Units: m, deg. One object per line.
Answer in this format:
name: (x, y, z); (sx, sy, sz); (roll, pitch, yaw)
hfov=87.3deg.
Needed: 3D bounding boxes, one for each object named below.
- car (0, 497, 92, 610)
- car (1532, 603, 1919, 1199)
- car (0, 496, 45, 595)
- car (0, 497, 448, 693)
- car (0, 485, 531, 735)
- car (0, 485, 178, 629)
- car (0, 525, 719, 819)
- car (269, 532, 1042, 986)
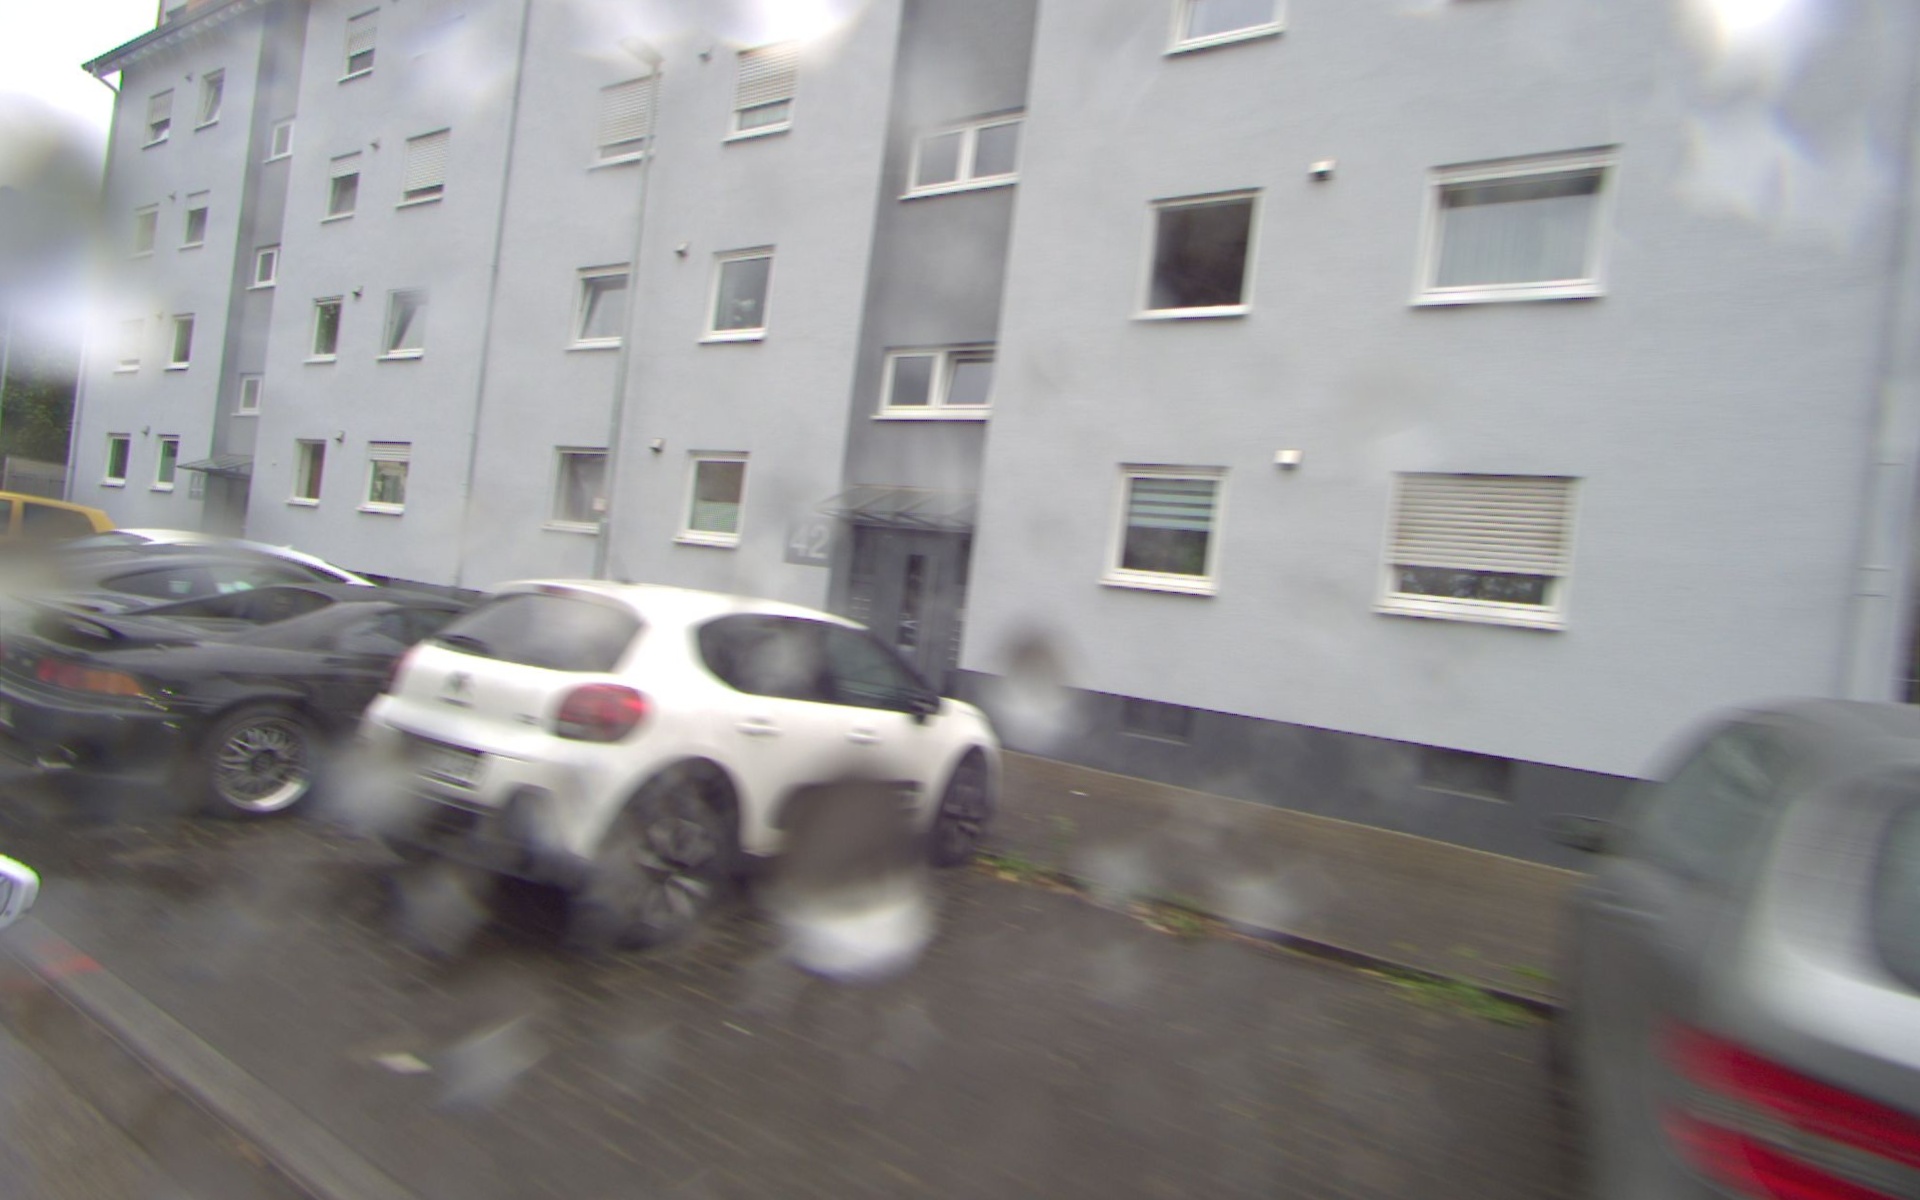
car: (-14.504, -0.871, 13.411); (1.752, 1.458, 3.996); (7, -2, 31)
car: (2.673, 1.095, 2.662); (1.858, 1.589, 4.191); (7, -2, 30)
car: (-16.602, -1.120, 14.870); (1.967, 1.475, 4.104); (7, -2, 33)
car: (-7.769, -0.035, 9.654); (1.968, 1.452, 4.636); (6, -2, 33)
car: (-5.864, 0.126, 7.838); (1.979, 1.503, 4.152); (7, -2, 31)
car: (-12.284, -0.682, 12.134); (1.821, 1.569, 3.997); (7, -2, 30)
car: (-3.737, 0.447, 6.567); (1.924, 1.221, 3.859); (7, -2, 33)
car: (-1.239, 0.700, 5.655); (1.805, 1.471, 3.863); (7, -2, 30)
